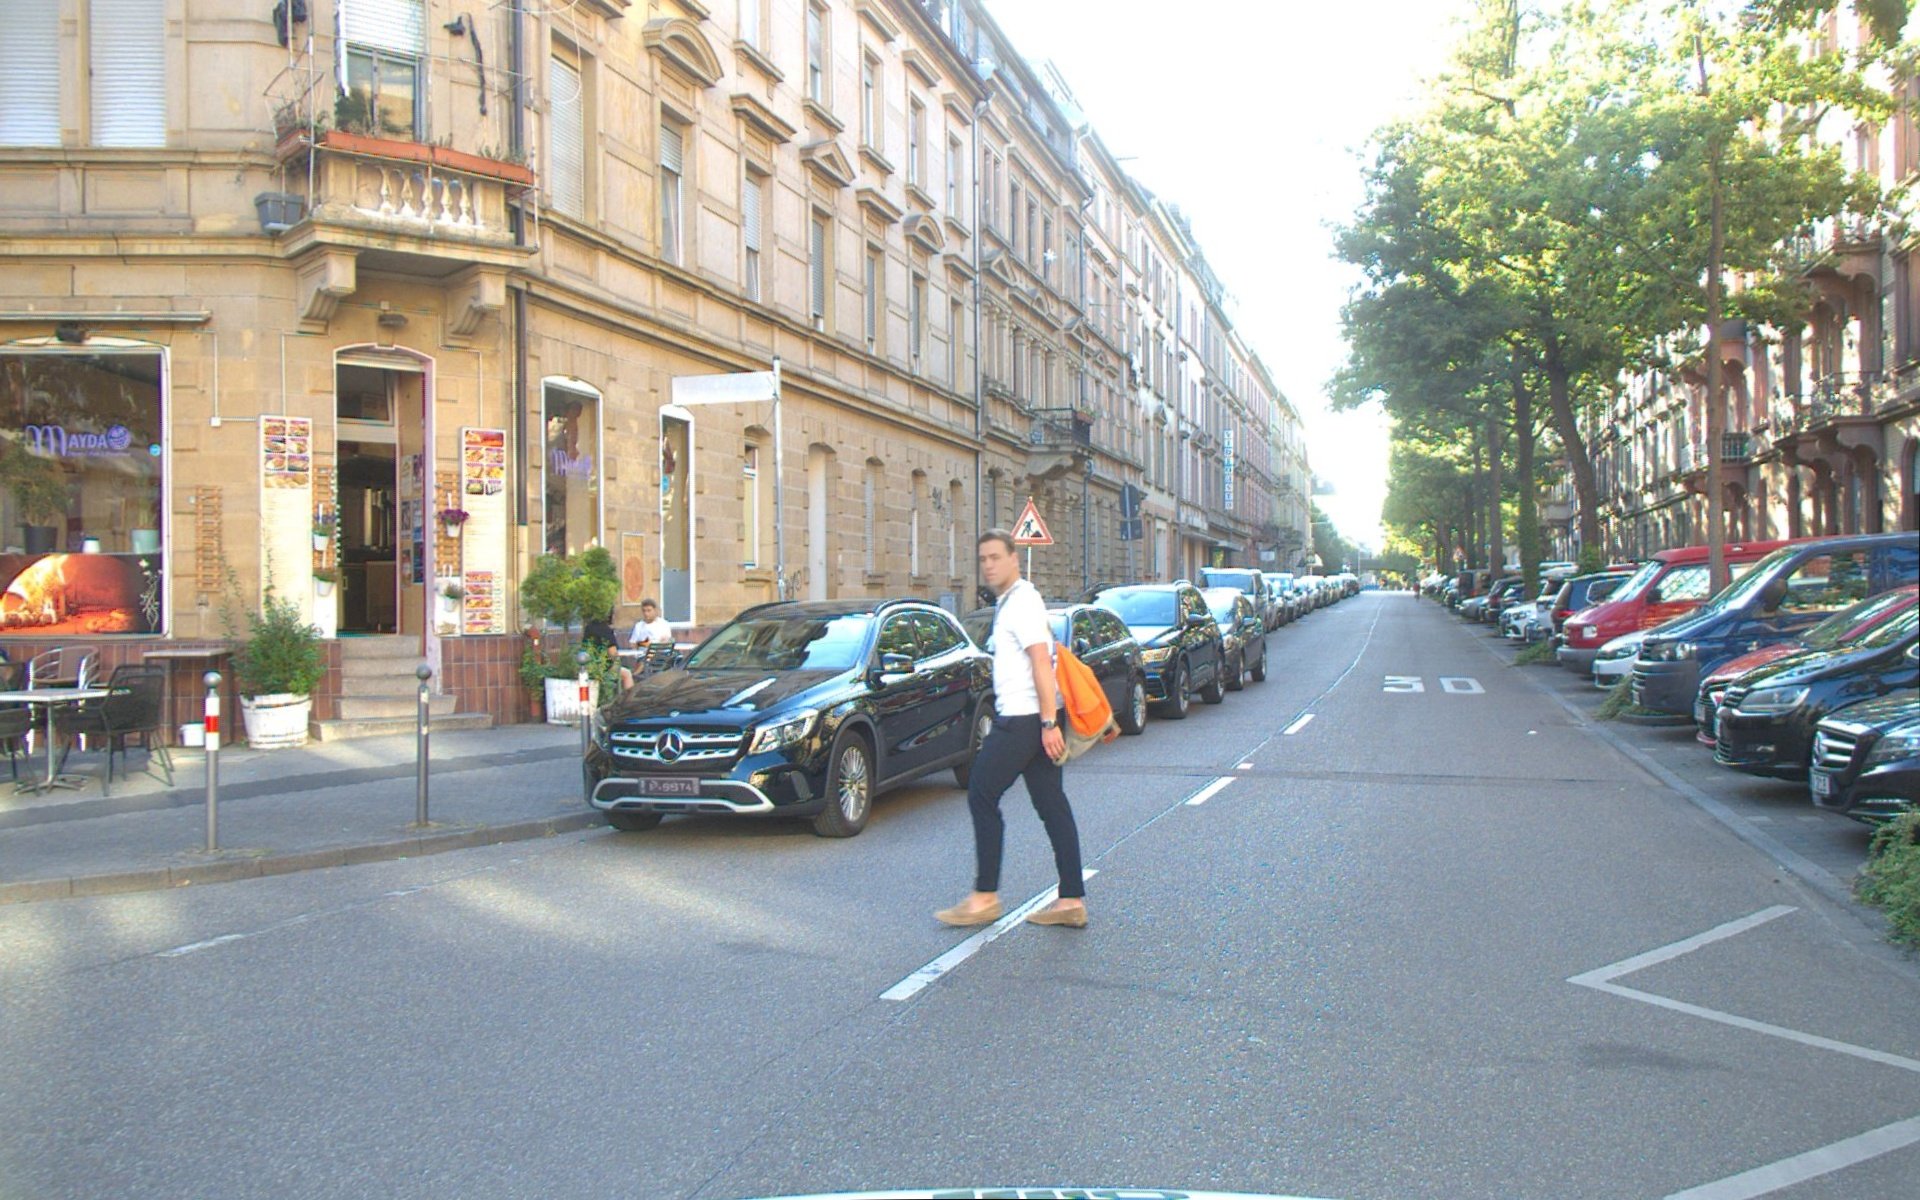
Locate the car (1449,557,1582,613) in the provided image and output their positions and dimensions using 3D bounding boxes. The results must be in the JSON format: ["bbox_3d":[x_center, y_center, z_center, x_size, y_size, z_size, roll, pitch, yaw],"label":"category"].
[{"bbox_3d":[22.480,-0.604,67.113,4.949,1.959,1.836,-3,0,15],"label":"car"}]

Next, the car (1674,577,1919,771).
[{"bbox_3d":[8.385,0.590,14.083,4.018,1.561,1.726,-1,0,16],"label":"car"}]

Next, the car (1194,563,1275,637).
[{"bbox_3d":[7.944,-0.036,47.553,1.793,1.977,5.264,1,1,15],"label":"car"}]

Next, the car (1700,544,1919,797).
[{"bbox_3d":[7.812,0.424,11.626,4.590,1.708,1.851,-2,-1,21],"label":"car"}]

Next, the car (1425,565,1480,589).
[{"bbox_3d":[36.544,-1.699,122.688,3.768,1.601,1.719,-3,0,14],"label":"car"}]

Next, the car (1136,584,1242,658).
[{"bbox_3d":[5.257,0.435,37.647,1.721,1.527,4.062,-2,0,17],"label":"car"}]

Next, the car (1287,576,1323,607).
[{"bbox_3d":[17.910,-0.465,85.786,1.721,1.498,4.063,-1,1,13],"label":"car"}]

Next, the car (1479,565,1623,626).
[{"bbox_3d":[17.970,-0.131,50.418,3.925,1.635,1.735,-3,-1,15],"label":"car"}]

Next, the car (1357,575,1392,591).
[{"bbox_3d":[49.645,-2.046,198.226,3.906,1.891,1.751,0,1,23],"label":"car"}]

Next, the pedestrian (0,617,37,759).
[{"bbox_3d":[-8.792,0.781,14.744,0.711,1.235,0.756,-1,0,-4],"label":"pedestrian"}]

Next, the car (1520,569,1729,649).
[{"bbox_3d":[14.355,0.192,35.938,3.925,1.459,1.796,-4,-1,15],"label":"car"}]

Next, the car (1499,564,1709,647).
[{"bbox_3d":[14.807,0.118,38.275,4.252,1.583,1.852,-4,1,14],"label":"car"}]

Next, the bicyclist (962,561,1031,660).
[{"bbox_3d":[0.705,0.182,31.571,0.975,1.821,1.208,-2,1,18],"label":"bicyclist"}]

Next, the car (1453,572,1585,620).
[{"bbox_3d":[19.606,-0.144,58.176,4.131,1.428,1.837,-3,0,10],"label":"car"}]

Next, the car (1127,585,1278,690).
[{"bbox_3d":[3.999,0.553,26.773,1.721,1.527,4.062,-2,0,18],"label":"car"}]

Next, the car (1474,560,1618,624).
[{"bbox_3d":[18.767,-0.259,53.134,4.131,1.807,1.837,-3,0,14],"label":"car"}]

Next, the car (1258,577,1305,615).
[{"bbox_3d":[13.472,-0.182,69.133,1.721,1.498,4.063,-1,1,13],"label":"car"}]

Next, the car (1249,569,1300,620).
[{"bbox_3d":[12.247,-0.252,64.227,1.721,1.874,4.534,-1,1,13],"label":"car"}]

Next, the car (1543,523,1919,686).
[{"bbox_3d":[11.057,0.085,24.040,4.575,2.069,1.880,-3,-1,12],"label":"car"}]

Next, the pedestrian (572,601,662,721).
[{"bbox_3d":[-3.784,0.660,18.269,0.710,1.281,0.757,-1,0,13],"label":"pedestrian"}]

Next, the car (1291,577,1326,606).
[{"bbox_3d":[19.085,-0.465,90.409,1.721,1.498,4.063,-1,1,13],"label":"car"}]

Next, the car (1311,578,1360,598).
[{"bbox_3d":[29.975,-0.958,132.024,3.967,1.512,1.968,0,-2,-43],"label":"car"}]

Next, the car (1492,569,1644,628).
[{"bbox_3d":[17.565,-0.039,47.951,3.925,1.493,1.735,-3,-1,15],"label":"car"}]

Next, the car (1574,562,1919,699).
[{"bbox_3d":[10.199,0.393,21.420,3.968,1.536,1.880,-3,-1,15],"label":"car"}]

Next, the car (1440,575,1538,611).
[{"bbox_3d":[22.391,-0.296,70.106,3.768,1.316,1.719,-3,0,12],"label":"car"}]

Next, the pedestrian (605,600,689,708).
[{"bbox_3d":[-3.672,0.621,19.434,0.710,1.235,0.757,-1,0,13],"label":"pedestrian"}]

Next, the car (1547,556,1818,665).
[{"bbox_3d":[12.485,0.193,28.870,4.099,1.656,1.838,-3,-1,18],"label":"car"}]

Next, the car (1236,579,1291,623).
[{"bbox_3d":[10.961,0.008,59.661,1.721,1.492,4.004,1,1,13],"label":"car"}]

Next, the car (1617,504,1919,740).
[{"bbox_3d":[9.430,0.206,16.752,4.914,2.253,1.994,-1,0,14],"label":"car"}]

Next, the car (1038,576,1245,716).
[{"bbox_3d":[2.514,0.532,21.858,1.722,1.628,4.552,-2,0,19],"label":"car"}]

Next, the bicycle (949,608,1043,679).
[{"bbox_3d":[0.719,0.798,31.567,0.975,1.178,2.925,-2,1,18],"label":"bicycle"}]

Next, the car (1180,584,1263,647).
[{"bbox_3d":[6.678,0.358,41.998,1.559,1.501,3.702,1,1,17],"label":"car"}]

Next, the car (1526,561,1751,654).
[{"bbox_3d":[13.677,0.156,33.578,3.925,1.656,1.806,-3,-1,13],"label":"car"}]

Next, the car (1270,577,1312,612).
[{"bbox_3d":[15.043,-0.282,75.033,1.721,1.498,4.063,-1,1,13],"label":"car"}]

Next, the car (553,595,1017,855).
[{"bbox_3d":[-1.028,0.750,11.959,1.722,1.514,4.140,-2,0,19],"label":"car"}]

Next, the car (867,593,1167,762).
[{"bbox_3d":[0.751,0.695,17.040,1.722,1.477,4.551,-2,0,20],"label":"car"}]

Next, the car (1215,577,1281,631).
[{"bbox_3d":[9.307,0.090,53.209,1.716,1.636,4.387,1,1,15],"label":"car"}]

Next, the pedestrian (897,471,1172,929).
[{"bbox_3d":[0.360,0.427,7.508,1.090,1.932,0.843,-1,0,13],"label":"pedestrian"}]

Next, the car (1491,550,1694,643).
[{"bbox_3d":[15.505,-0.102,40.742,4.349,1.957,1.852,-4,1,13],"label":"car"}]

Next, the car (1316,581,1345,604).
[{"bbox_3d":[27.345,-0.544,122.023,1.951,1.512,4.003,-1,-1,14],"label":"car"}]

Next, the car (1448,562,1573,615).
[{"bbox_3d":[21.143,-0.437,63.603,4.138,1.826,1.833,-3,0,-5],"label":"car"}]

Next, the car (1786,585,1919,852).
[{"bbox_3d":[7.416,0.562,9.272,4.684,1.437,1.852,-2,-1,17],"label":"car"}]
